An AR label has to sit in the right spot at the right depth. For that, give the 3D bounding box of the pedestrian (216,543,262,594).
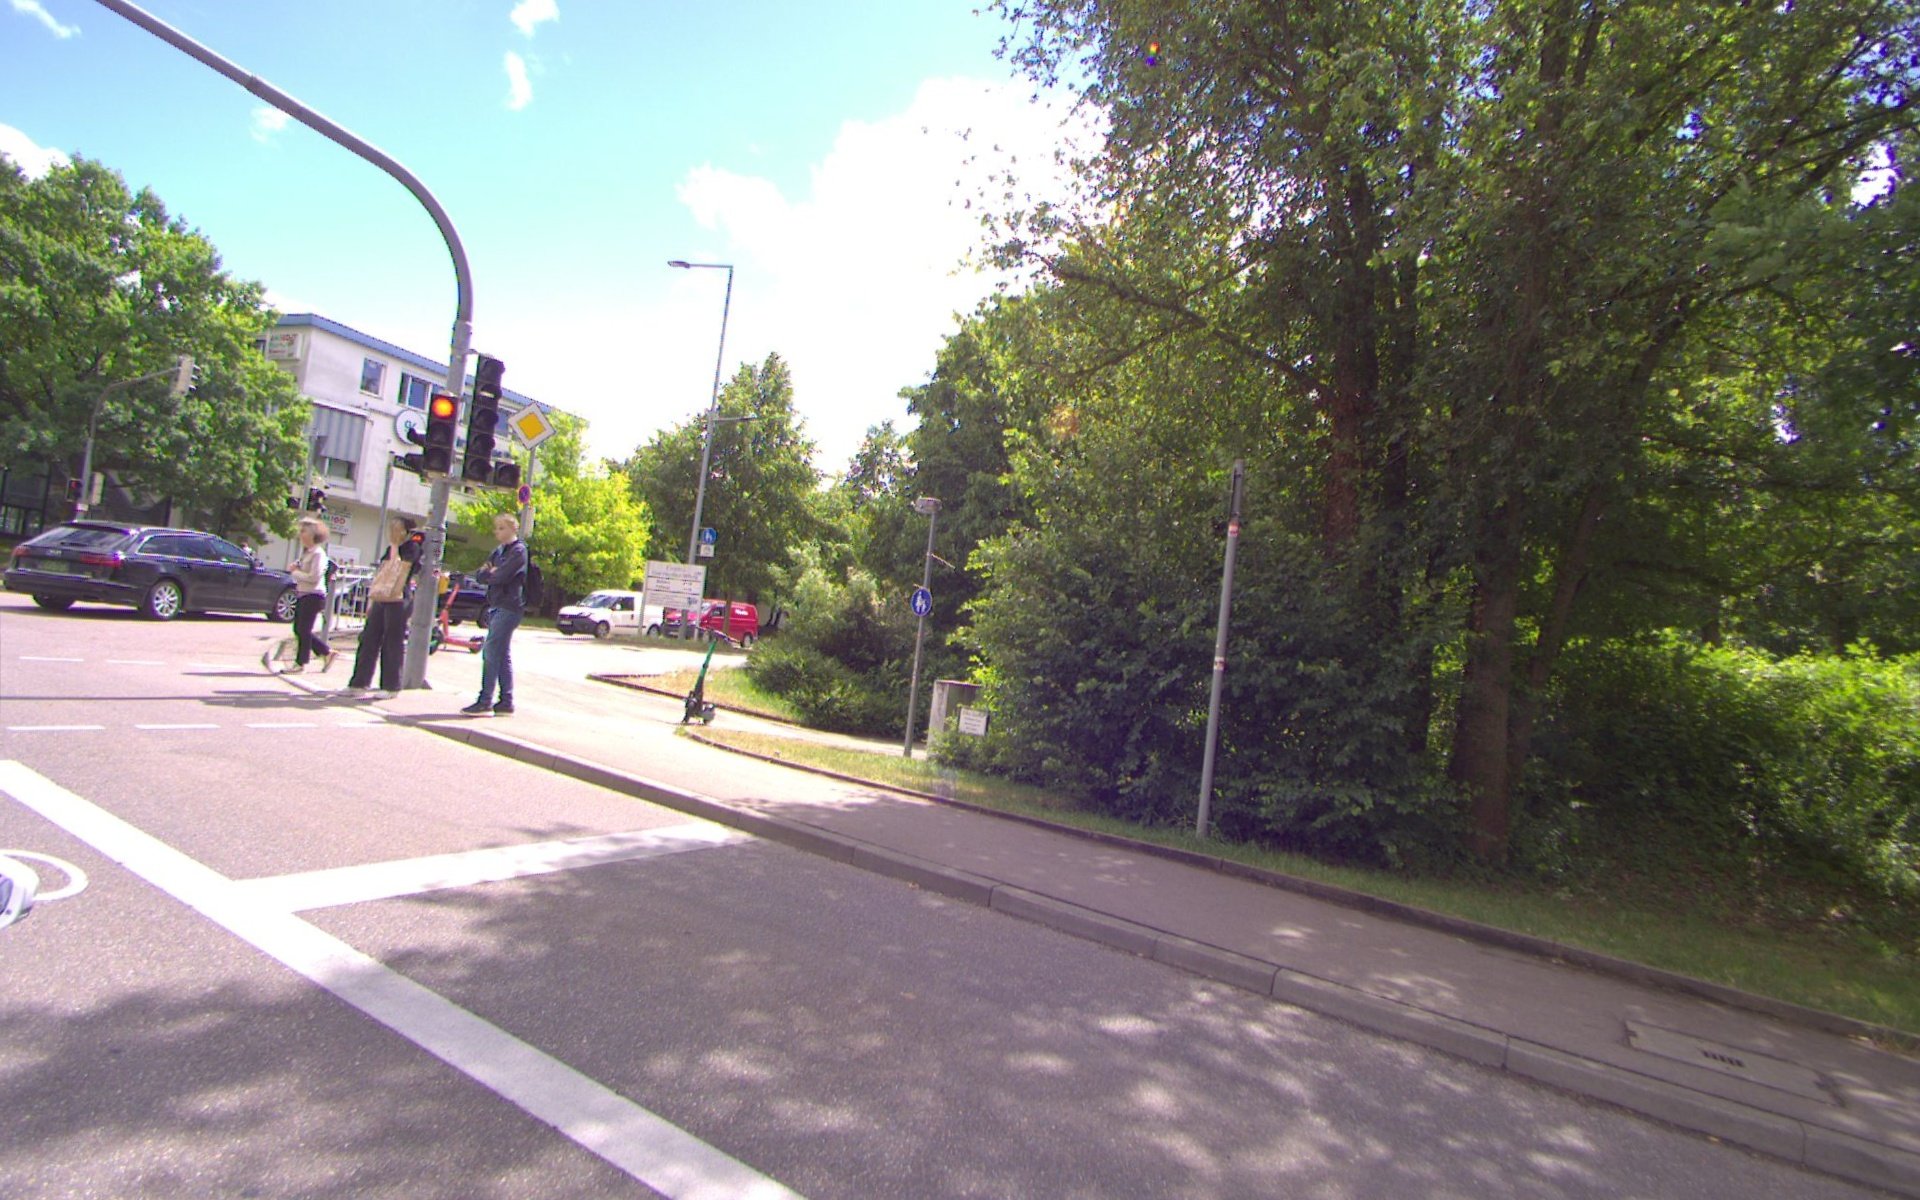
[{"bbox_3d":[-25.803,-1.117,36.031,0.890,1.662,0.772,7,-1,16],"label":"pedestrian"}]

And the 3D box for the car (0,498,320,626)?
[{"bbox_3d":[-13.097,-0.493,16.690,1.963,1.571,4.524,7,-2,-1],"label":"car"}]

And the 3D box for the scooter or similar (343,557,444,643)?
[{"bbox_3d":[-8.945,0.026,15.944,0.533,1.168,1.362,9,-3,7],"label":"scooter or similar"}]

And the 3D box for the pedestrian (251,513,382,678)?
[{"bbox_3d":[-7.197,-0.051,11.251,0.950,1.694,0.860,7,-1,-43],"label":"pedestrian"}]

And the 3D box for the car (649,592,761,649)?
[{"bbox_3d":[-10.625,0.902,42.333,1.964,1.885,4.822,5,-3,23],"label":"car"}]

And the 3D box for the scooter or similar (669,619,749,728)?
[{"bbox_3d":[-3.348,1.002,13.525,0.706,1.287,1.243,10,-7,-7],"label":"scooter or similar"}]

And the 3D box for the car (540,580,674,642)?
[{"bbox_3d":[-12.951,0.468,37.203,1.963,1.737,4.576,7,-2,23],"label":"car"}]

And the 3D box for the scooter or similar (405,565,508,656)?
[{"bbox_3d":[-7.935,0.189,15.912,0.547,1.254,1.231,8,-3,23],"label":"scooter or similar"}]

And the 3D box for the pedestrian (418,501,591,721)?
[{"bbox_3d":[-4.414,0.125,9.790,0.881,1.964,0.968,7,-1,28],"label":"pedestrian"}]

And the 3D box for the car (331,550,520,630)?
[{"bbox_3d":[-15.790,-0.233,30.005,1.964,1.737,4.574,7,-2,25],"label":"car"}]

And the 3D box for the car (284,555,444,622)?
[{"bbox_3d":[-19.044,-0.320,32.323,1.963,1.573,3.923,7,-2,21],"label":"car"}]

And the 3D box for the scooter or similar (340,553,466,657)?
[{"bbox_3d":[-7.883,0.086,14.280,0.455,1.292,1.344,8,-1,38],"label":"scooter or similar"}]

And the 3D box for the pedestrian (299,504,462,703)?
[{"bbox_3d":[-5.650,0.052,9.844,0.758,1.787,0.936,7,0,20],"label":"pedestrian"}]
